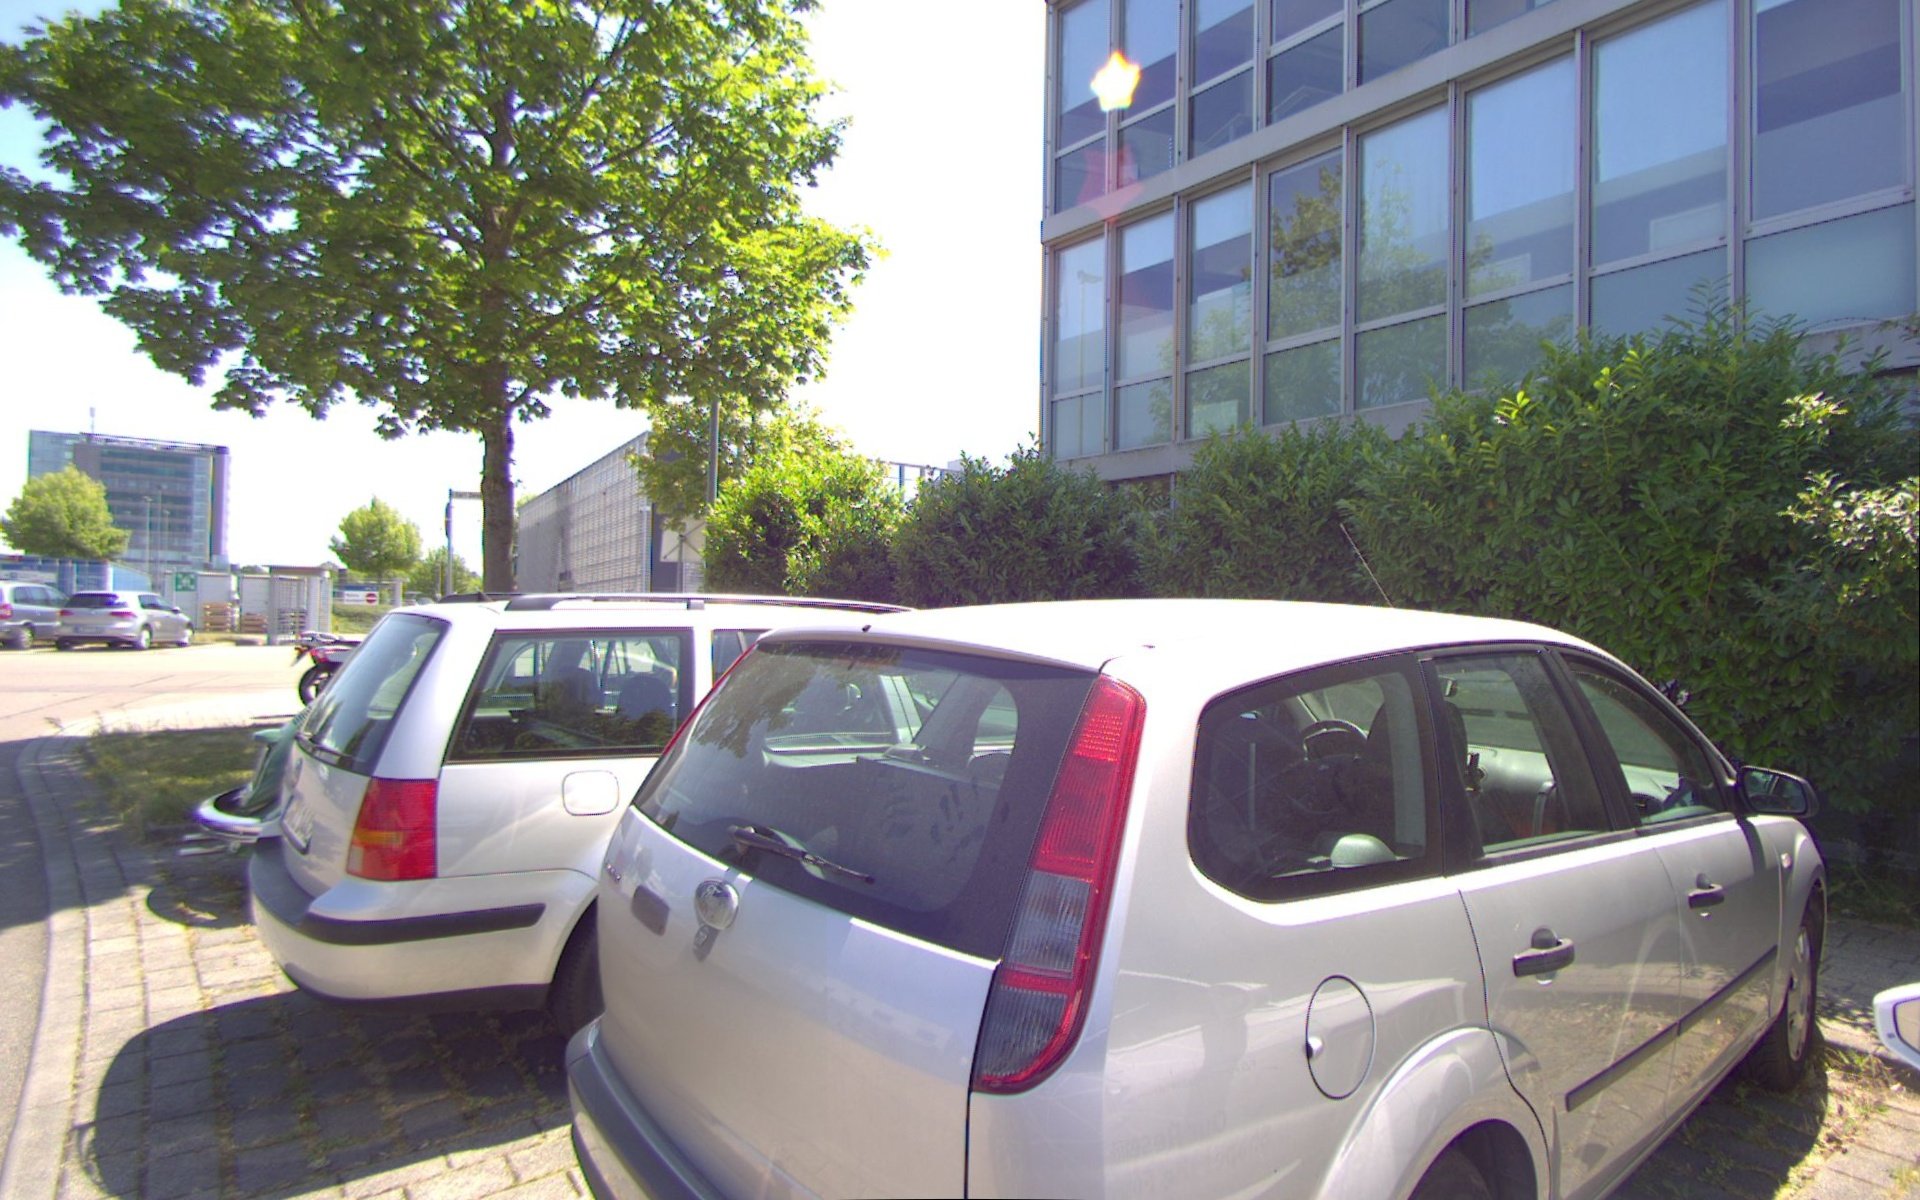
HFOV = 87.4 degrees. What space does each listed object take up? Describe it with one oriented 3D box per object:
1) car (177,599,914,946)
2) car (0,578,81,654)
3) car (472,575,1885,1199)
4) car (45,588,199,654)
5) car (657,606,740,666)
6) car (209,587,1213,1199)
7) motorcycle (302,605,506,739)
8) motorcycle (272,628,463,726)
[{"bbox_3d":[-2.297,0.779,6.162,3.862,1.468,1.633,2,-1,-42],"label":"car"},{"bbox_3d":[-23.507,0.359,24.817,1.750,1.761,3.972,1,-1,-27],"label":"car"},{"bbox_3d":[1.119,0.780,2.928,4.311,1.499,1.706,2,-1,-39],"label":"car"},{"bbox_3d":[-21.159,0.516,25.558,1.627,1.542,3.983,1,-1,-19],"label":"car"},{"bbox_3d":[-7.616,0.991,28.998,1.969,1.616,3.982,1,-1,-20],"label":"car"},{"bbox_3d":[-0.731,0.765,4.304,3.862,1.499,1.633,2,-1,-42],"label":"car"},{"bbox_3d":[-6.294,0.776,11.459,1.974,1.408,0.478,1,0,-42],"label":"motorcycle"},{"bbox_3d":[-7.296,0.914,12.447,1.974,1.123,0.478,1,0,-42],"label":"motorcycle"}]
